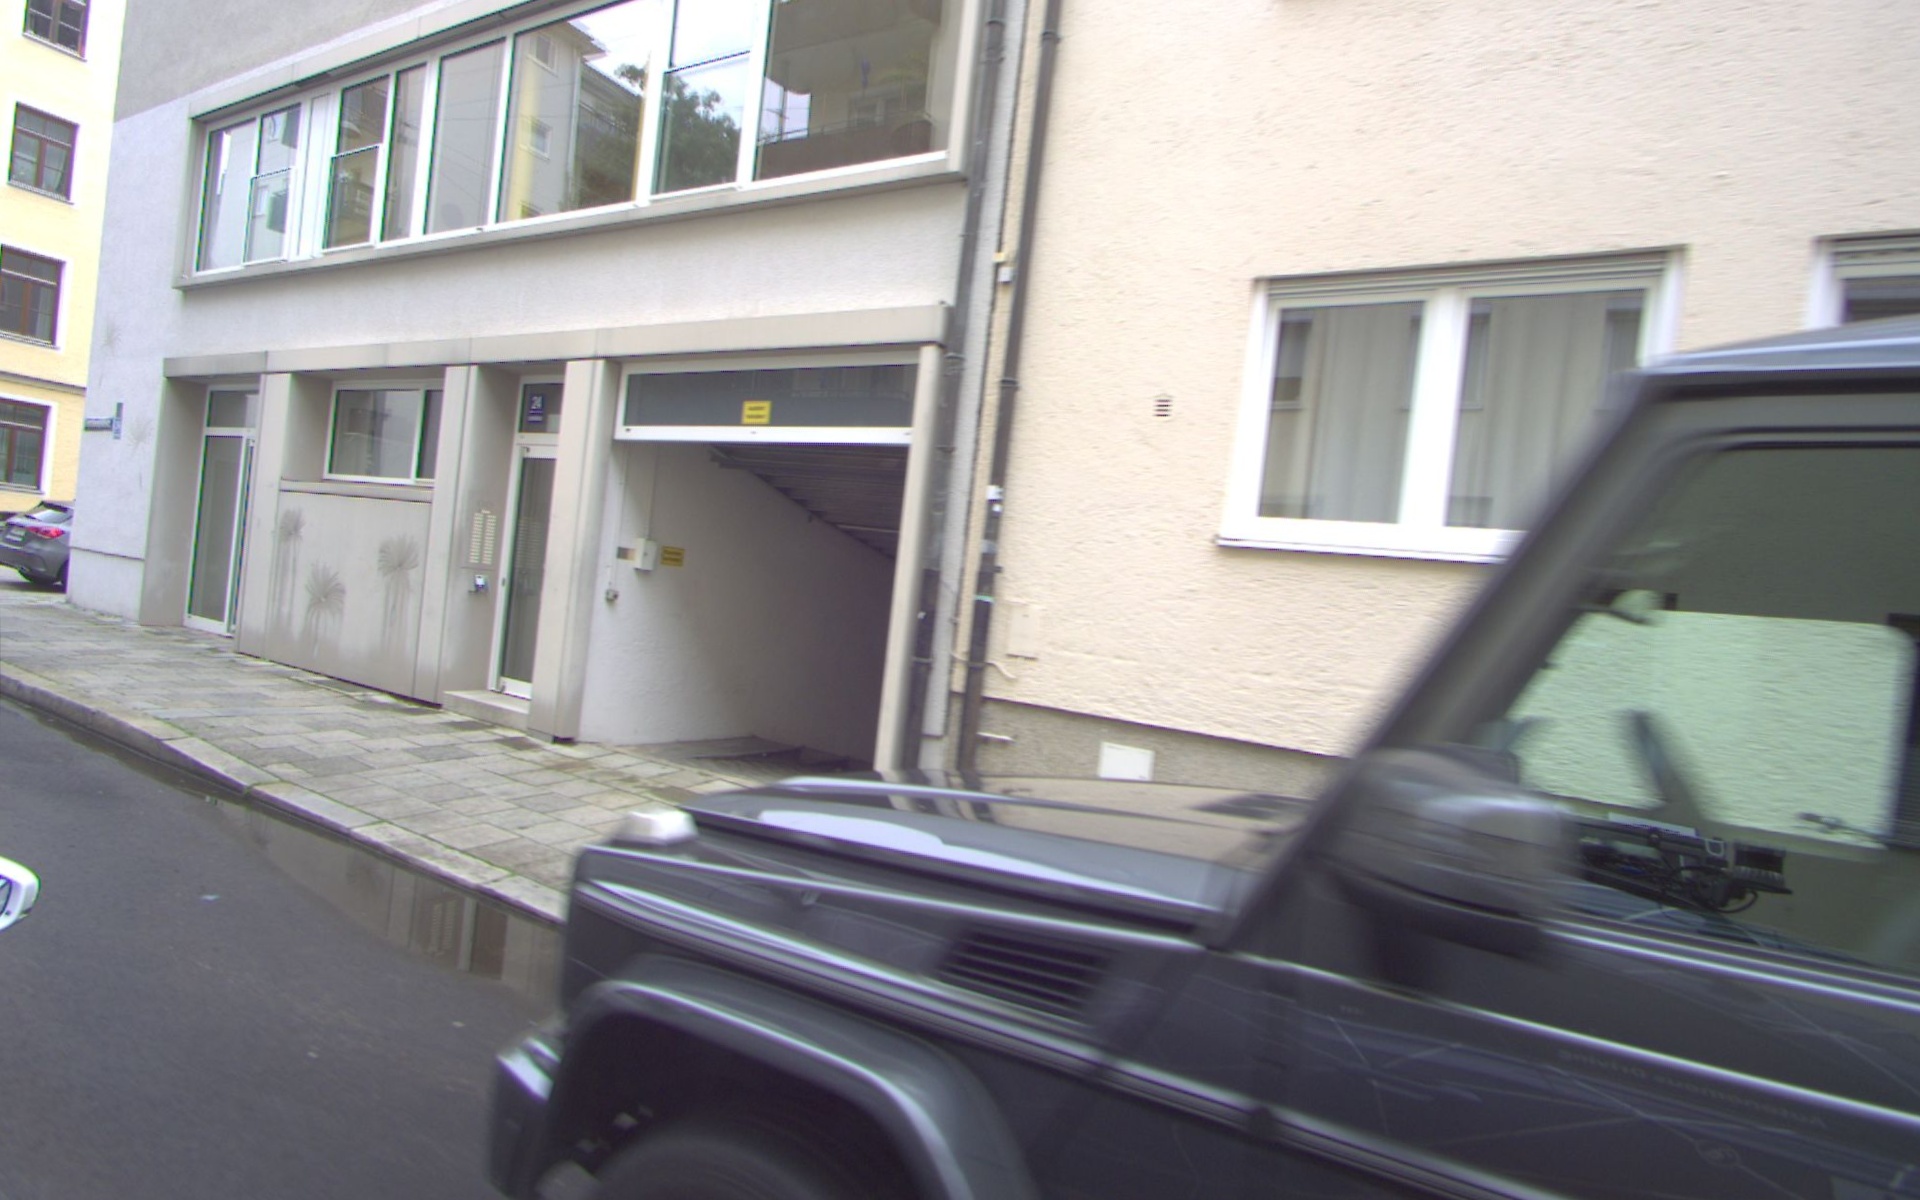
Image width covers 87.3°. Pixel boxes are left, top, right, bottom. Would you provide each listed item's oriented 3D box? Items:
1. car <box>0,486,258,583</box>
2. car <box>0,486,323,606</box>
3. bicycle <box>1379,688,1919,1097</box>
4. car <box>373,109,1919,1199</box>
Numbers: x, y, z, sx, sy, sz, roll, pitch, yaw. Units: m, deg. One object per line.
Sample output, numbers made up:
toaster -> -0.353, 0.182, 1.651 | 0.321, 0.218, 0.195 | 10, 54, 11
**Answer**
car -> -17.874, -1.348, 21.598 | 1.683, 1.512, 4.219 | 6, -1, 29
car -> -13.538, -0.860, 16.977 | 1.965, 1.417, 4.211 | 9, 1, 28
bicycle -> 2.622, 0.989, 3.791 | 1.767, 1.043, 0.644 | 6, 4, 31
car -> 1.352, 0.711, 1.428 | 4.268, 1.998, 1.755 | 7, -2, 29
